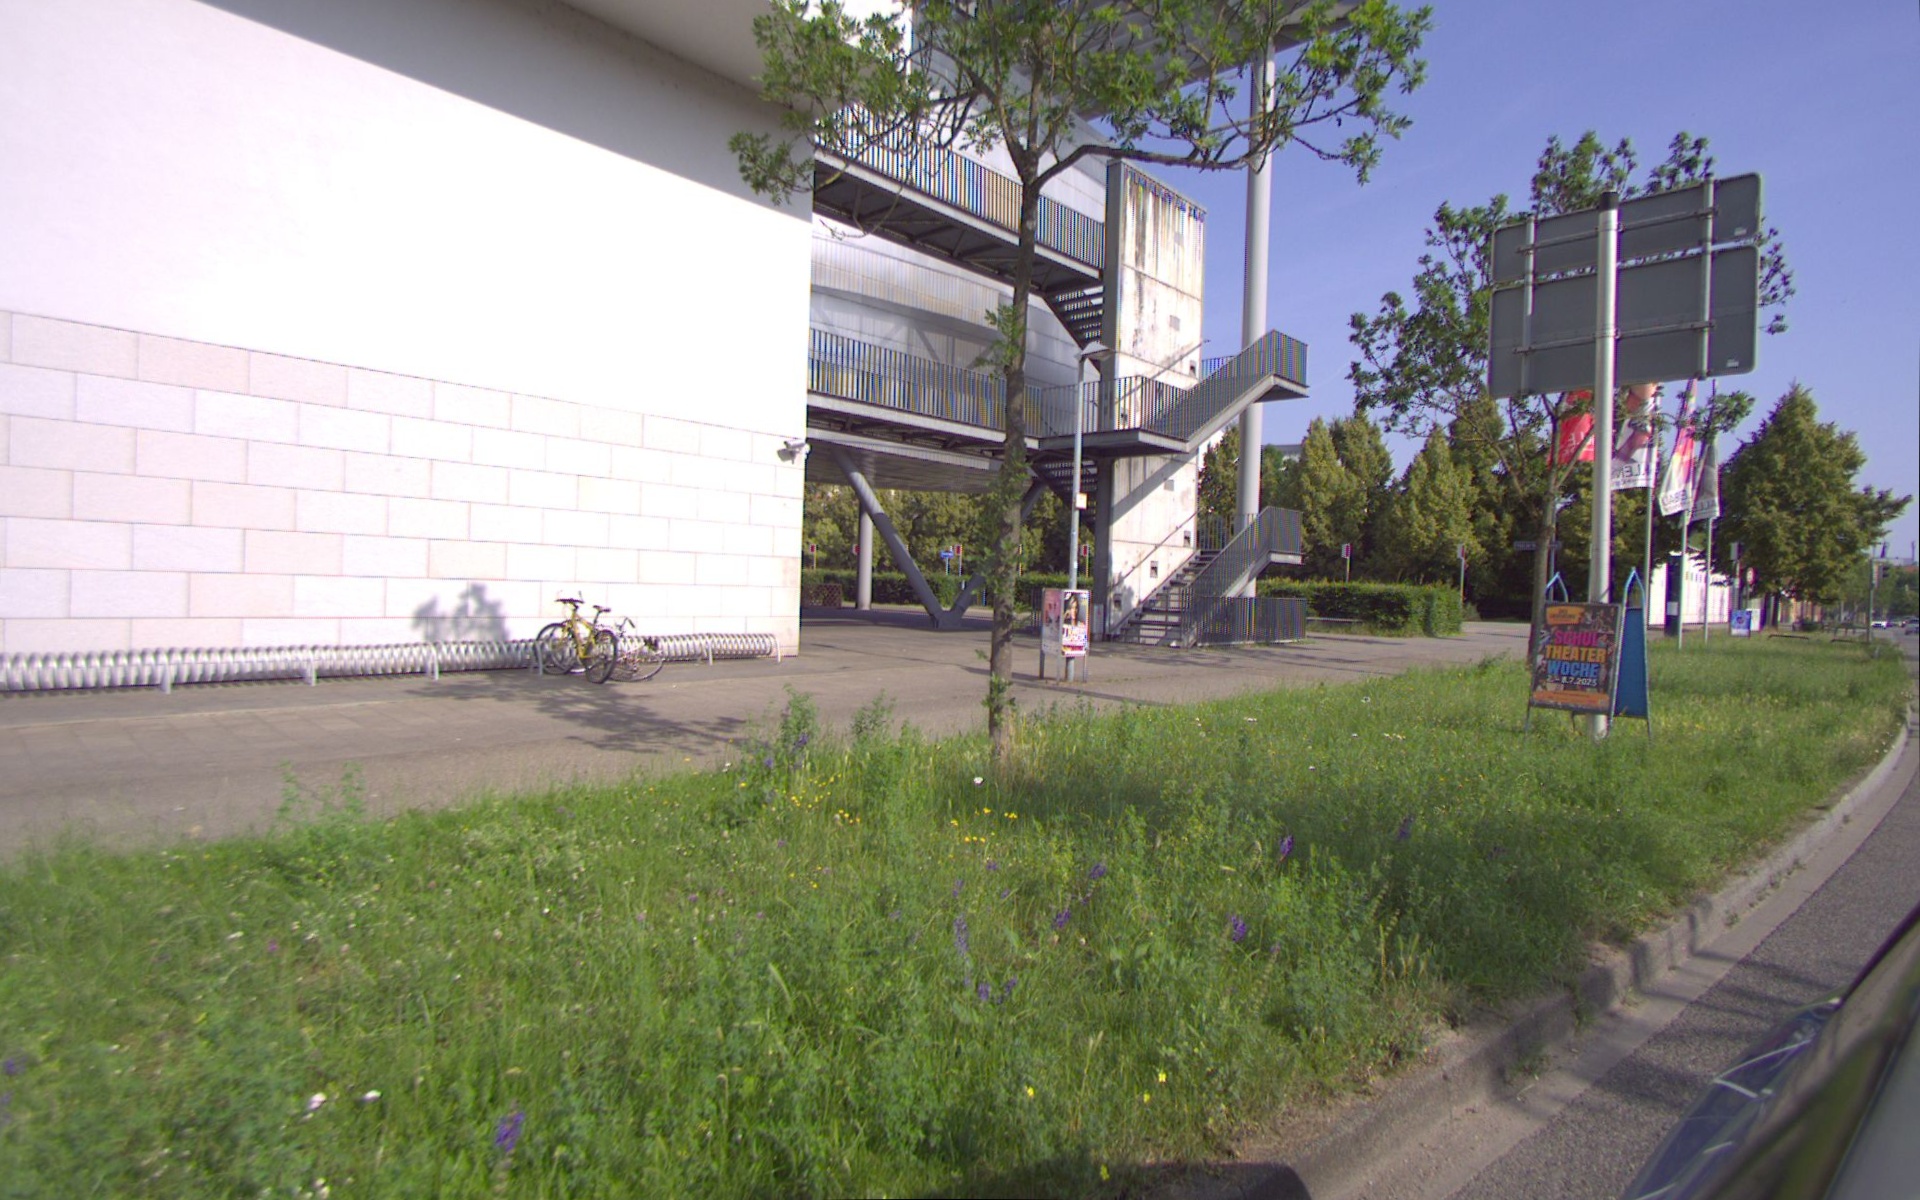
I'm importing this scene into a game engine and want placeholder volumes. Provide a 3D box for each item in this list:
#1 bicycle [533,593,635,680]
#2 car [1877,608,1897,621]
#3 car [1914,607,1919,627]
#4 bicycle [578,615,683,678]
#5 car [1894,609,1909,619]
[{"bbox_3d":[-4.505,0.406,12.068,1.658,0.926,0.475,2,1,45],"label":"bicycle"},{"bbox_3d":[129.984,1.970,141.850,1.993,1.683,3.937,2,1,43],"label":"car"},{"bbox_3d":[80.028,1.417,83.361,1.993,1.683,3.937,2,1,43],"label":"car"},{"bbox_3d":[-4.099,0.555,12.540,1.658,0.653,0.529,3,1,45],"label":"bicycle"},{"bbox_3d":[169.921,2.559,182.707,1.993,1.683,3.937,2,1,43],"label":"car"}]
